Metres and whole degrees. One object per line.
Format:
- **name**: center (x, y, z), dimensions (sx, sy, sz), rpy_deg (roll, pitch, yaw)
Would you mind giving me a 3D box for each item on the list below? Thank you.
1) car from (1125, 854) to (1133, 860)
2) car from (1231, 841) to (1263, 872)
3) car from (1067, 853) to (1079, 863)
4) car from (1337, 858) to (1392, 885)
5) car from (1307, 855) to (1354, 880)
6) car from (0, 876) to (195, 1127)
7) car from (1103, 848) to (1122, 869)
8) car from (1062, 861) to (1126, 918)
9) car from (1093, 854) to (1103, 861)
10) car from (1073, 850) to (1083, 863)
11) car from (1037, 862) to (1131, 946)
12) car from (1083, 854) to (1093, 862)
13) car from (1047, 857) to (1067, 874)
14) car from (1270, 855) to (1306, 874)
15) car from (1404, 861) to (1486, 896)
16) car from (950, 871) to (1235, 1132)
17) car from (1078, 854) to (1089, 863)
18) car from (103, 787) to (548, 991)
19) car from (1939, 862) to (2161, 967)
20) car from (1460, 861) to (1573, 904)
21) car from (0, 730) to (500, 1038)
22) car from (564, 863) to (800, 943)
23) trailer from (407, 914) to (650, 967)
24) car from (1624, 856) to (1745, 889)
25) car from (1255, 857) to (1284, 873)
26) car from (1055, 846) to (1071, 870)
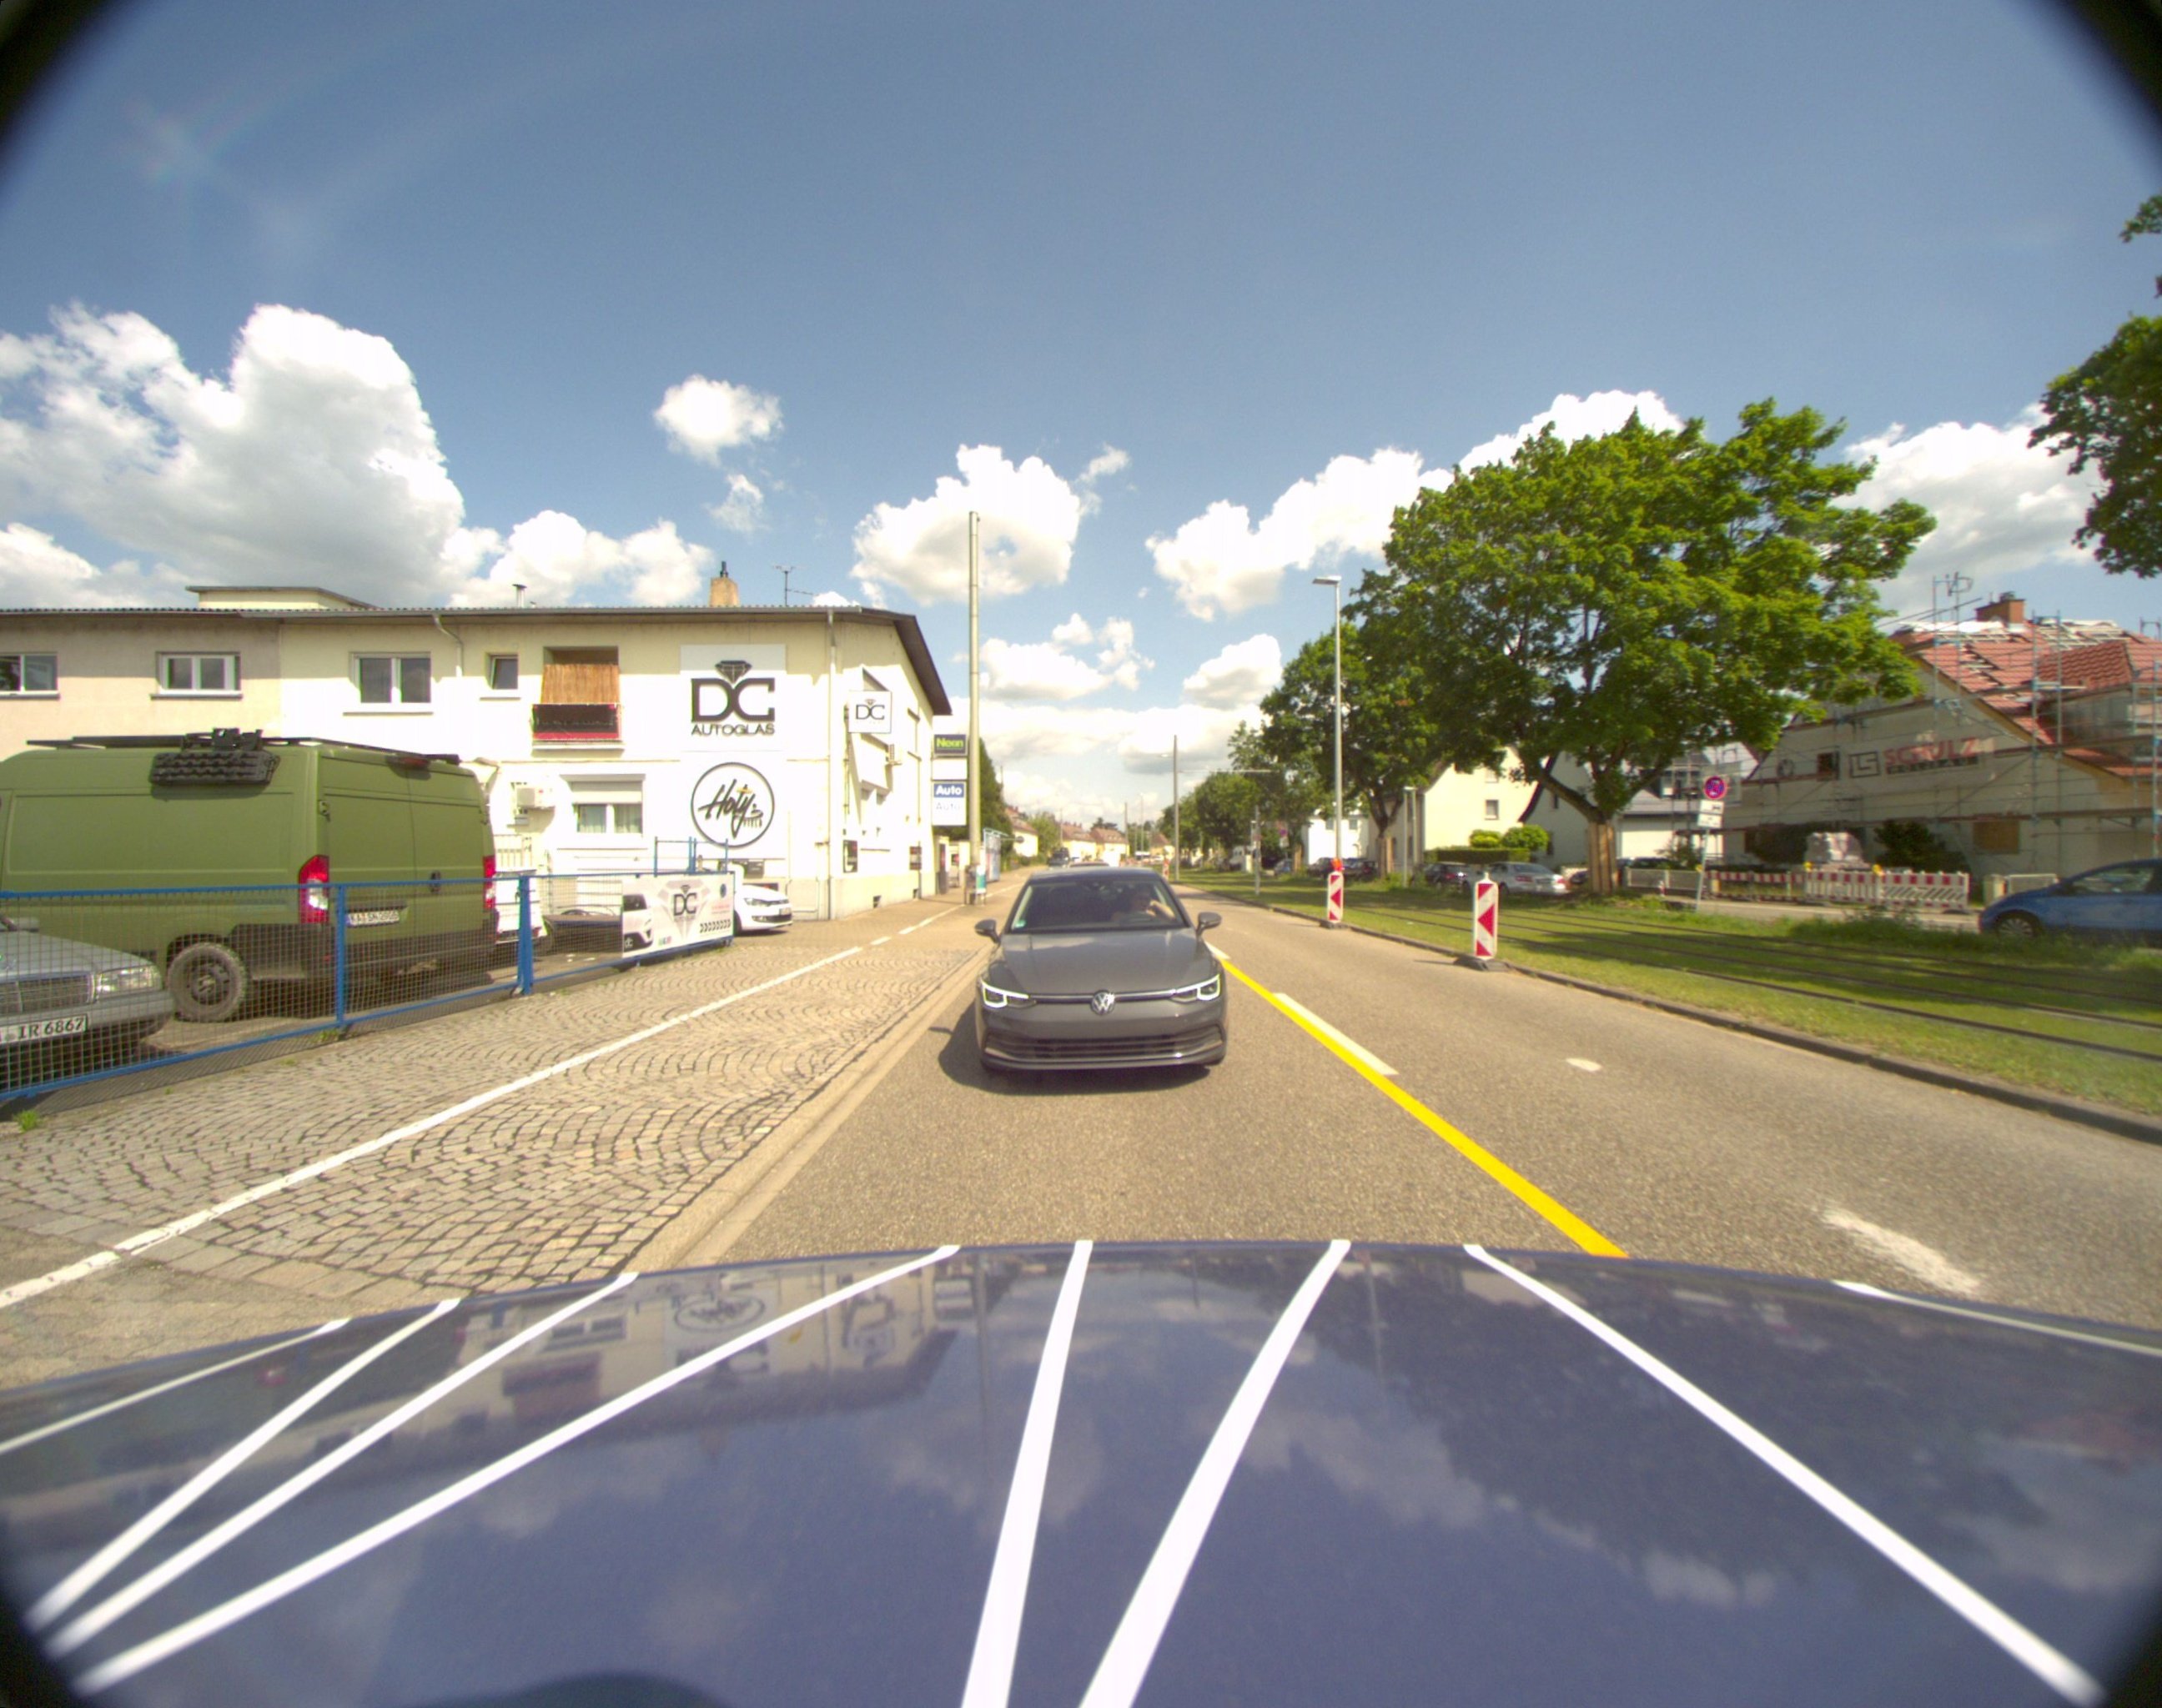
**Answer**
- **car**: center (13.831, 0.922, 218.675), dimensions (1.700, 1.574, 4.005), rpy_deg (0, 0, 16)
- **car**: center (16.818, 0.263, 77.265), dimensions (2.136, 3.019, 5.084), rpy_deg (-1, -1, 1)
- **car**: center (-1.311, 0.658, 123.034), dimensions (1.701, 1.574, 4.001), rpy_deg (0, 0, 3)
- **car**: center (16.770, 1.027, 45.148), dimensions (1.702, 1.477, 4.407), rpy_deg (-1, -1, 1)
- **car**: center (16.554, 0.890, 50.654), dimensions (1.702, 1.562, 4.407), rpy_deg (-1, -1, 1)
- **car**: center (-8.461, 0.884, 4.768), dimensions (4.282, 1.444, 1.713), rpy_deg (0, 0, 8)
- **car**: center (3.778, 0.524, 92.325), dimensions (2.090, 2.449, 5.842), rpy_deg (2, 0, 2)
- **car**: center (0.376, 0.972, 22.234), dimensions (1.702, 1.477, 4.000), rpy_deg (0, 0, 1)
- **car**: center (3.854, 0.893, 173.591), dimensions (1.700, 1.574, 4.004), rpy_deg (0, 0, 12)
- **car**: center (-0.484, 0.405, 136.397), dimensions (1.701, 2.233, 4.947), rpy_deg (0, 0, 2)
- **car**: center (0.078, 0.935, 15.812), dimensions (1.702, 1.477, 4.000), rpy_deg (0, 0, 1)
- **car**: center (1.449, 0.889, 155.831), dimensions (1.701, 1.574, 4.002), rpy_deg (0, 0, 7)
- **car**: center (-2.185, 1.037, 70.748), dimensions (1.702, 1.574, 4.000), rpy_deg (0, 0, 1)
- **car**: center (16.644, 0.866, 61.275), dimensions (1.702, 1.477, 4.407), rpy_deg (-1, -1, 1)
- **car**: center (16.624, 1.113, 34.931), dimensions (1.702, 1.477, 4.407), rpy_deg (-1, -1, 1)
- **car**: center (0.097, 0.931, 6.556), dimensions (1.702, 1.477, 4.000), rpy_deg (0, 0, 1)
- **car**: center (0.490, 0.886, 146.701), dimensions (1.701, 1.574, 4.002), rpy_deg (0, 0, 6)
- **car**: center (-9.501, 0.415, 9.771), dimensions (4.207, 2.392, 1.586), rpy_deg (0, 0, 2)
- **car**: center (16.201, 0.861, 11.392), dimensions (1.702, 1.477, 4.407), rpy_deg (-1, -1, 1)
- **car**: center (16.420, 1.060, 28.958), dimensions (1.788, 1.477, 4.523), rpy_deg (-1, -1, 2)
- **car**: center (-8.728, 0.267, 7.604), dimensions (4.207, 2.627, 2.113), rpy_deg (0, 0, 2)
- **car**: center (-7.663, 0.911, 14.812), dimensions (3.775, 1.454, 1.555), rpy_deg (0, 0, 2)
- **trailer**: center (-8.369, 1.302, 11.654), dimensions (2.733, 0.662, 1.329), rpy_deg (0, 0, -1)
- **car**: center (28.905, 0.883, 36.504), dimensions (4.402, 1.477, 1.704), rpy_deg (-1, -1, 1)
- **car**: center (17.647, 1.067, 71.320), dimensions (1.702, 1.477, 4.407), rpy_deg (-1, -1, 1)
- **car**: center (-1.911, 0.438, 82.433), dimensions (1.702, 2.510, 5.144), rpy_deg (0, 0, 0)
